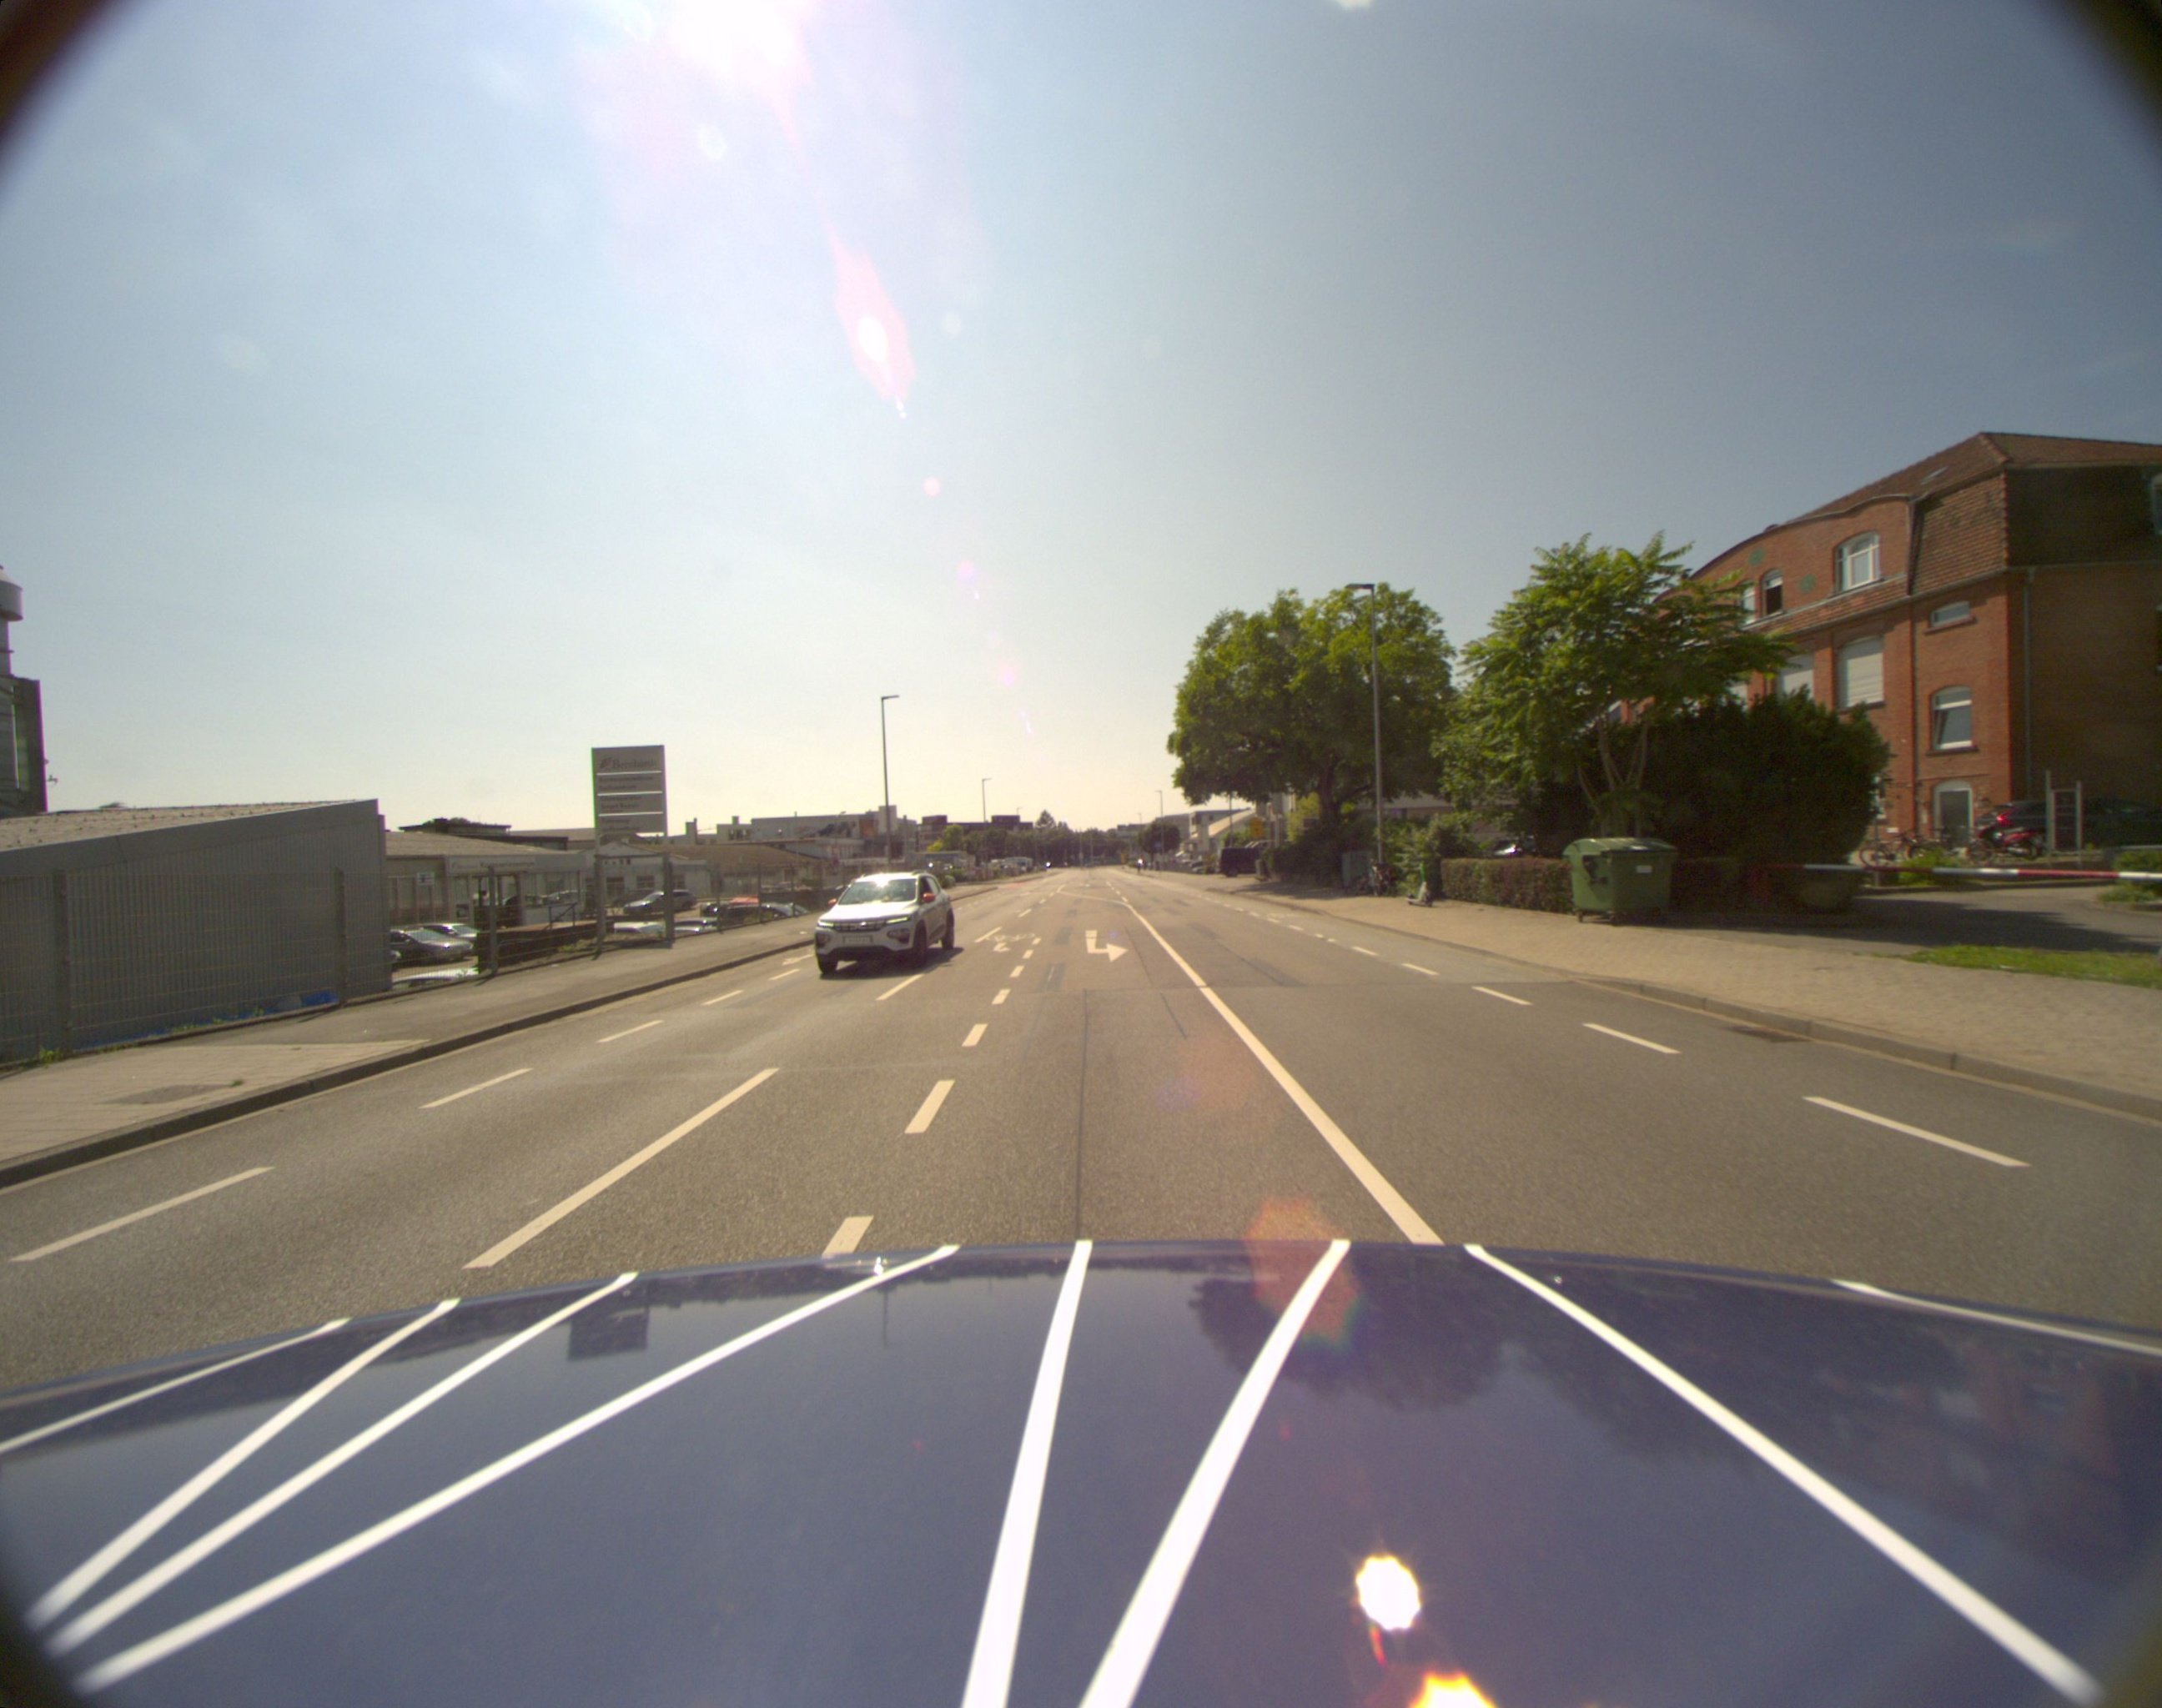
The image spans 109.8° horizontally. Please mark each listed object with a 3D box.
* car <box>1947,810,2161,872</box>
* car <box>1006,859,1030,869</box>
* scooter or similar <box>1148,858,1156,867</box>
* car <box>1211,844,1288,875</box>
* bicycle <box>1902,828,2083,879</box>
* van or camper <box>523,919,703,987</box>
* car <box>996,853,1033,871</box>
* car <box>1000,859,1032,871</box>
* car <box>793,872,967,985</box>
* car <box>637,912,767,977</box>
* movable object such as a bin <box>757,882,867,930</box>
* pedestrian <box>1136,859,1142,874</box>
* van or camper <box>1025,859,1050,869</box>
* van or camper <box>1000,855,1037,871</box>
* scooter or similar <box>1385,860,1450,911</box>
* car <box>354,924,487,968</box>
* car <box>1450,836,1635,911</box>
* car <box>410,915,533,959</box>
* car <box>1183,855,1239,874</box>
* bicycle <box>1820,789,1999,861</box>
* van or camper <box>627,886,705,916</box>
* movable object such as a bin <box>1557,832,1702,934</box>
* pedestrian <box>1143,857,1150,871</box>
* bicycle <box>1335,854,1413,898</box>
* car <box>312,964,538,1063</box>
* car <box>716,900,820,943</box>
[{"bbox_3d":[28.436,-0.349,21.687,4.467,1.623,2.160,-2,0,33],"label":"car"},{"bbox_3d":[-10.799,1.674,130.187,3.931,1.584,1.798,-2,0,0],"label":"car"},{"bbox_3d":[10.243,1.269,109.851,0.746,1.240,1.490,-3,0,-7],"label":"scooter or similar"},{"bbox_3d":[11.037,0.351,49.953,4.577,1.854,2.093,-1,0,1],"label":"car"},{"bbox_3d":[25.113,-0.026,21.099,0.883,1.279,3.441,-2,0,0],"label":"bicycle"},{"bbox_3d":[-14.723,3.082,24.109,4.325,1.641,2.020,-3,0,-4],"label":"van or camper"},{"bbox_3d":[-11.934,1.423,135.726,6.243,2.852,2.320,-2,0,1],"label":"car"},{"bbox_3d":[-11.374,1.885,133.051,5.247,1.940,2.000,-1,0,0],"label":"car"},{"bbox_3d":[-3.180,1.121,12.799,1.726,1.475,3.678,-4,-1,2],"label":"car"},{"bbox_3d":[-14.945,3.540,30.121,3.997,2.002,2.000,-5,0,0],"label":"car"},{"bbox_3d":[-14.594,2.789,41.424,5.128,2.002,2.000,-5,0,0],"label":"movable object such as a bin"},{"bbox_3d":[7.618,1.660,99.817,0.734,1.856,1.047,-2,0,6],"label":"pedestrian"},{"bbox_3d":[-9.309,2.124,162.675,5.144,1.950,1.982,-1,1,-30],"label":"van or camper"},{"bbox_3d":[-11.370,1.641,138.758,6.365,2.684,2.712,-2,0,1],"label":"van or camper"},{"bbox_3d":[8.151,0.744,18.503,0.649,1.121,1.622,-5,0,-6],"label":"scooter or similar"},{"bbox_3d":[-28.439,3.947,32.823,3.998,1.507,1.846,-2,2,-2],"label":"car"},{"bbox_3d":[12.247,0.489,20.367,3.773,1.830,1.787,2,1,5],"label":"car"},{"bbox_3d":[-28.444,3.853,35.580,3.998,1.653,1.999,-2,2,-2],"label":"car"},{"bbox_3d":[11.954,0.953,70.100,4.751,1.472,2.048,-2,0,-1],"label":"car"},{"bbox_3d":[22.915,-0.740,21.211,0.890,1.813,3.761,-2,0,0],"label":"bicycle"},{"bbox_3d":[-28.277,3.190,51.939,1.994,1.535,4.235,2,3,27],"label":"van or camper"},{"bbox_3d":[9.197,0.462,12.821,1.452,1.581,1.306,-2,0,-8],"label":"movable object such as a bin"},{"bbox_3d":[9.076,1.367,105.520,0.725,1.837,0.911,-2,0,-6],"label":"pedestrian"},{"bbox_3d":[8.451,0.615,22.120,1.029,1.111,2.765,-6,0,-2],"label":"bicycle"},{"bbox_3d":[-16.087,3.895,18.744,3.994,1.819,2.001,-5,0,9],"label":"car"},{"bbox_3d":[-14.630,3.150,35.701,3.997,1.641,2.000,-3,0,-1],"label":"car"}]
